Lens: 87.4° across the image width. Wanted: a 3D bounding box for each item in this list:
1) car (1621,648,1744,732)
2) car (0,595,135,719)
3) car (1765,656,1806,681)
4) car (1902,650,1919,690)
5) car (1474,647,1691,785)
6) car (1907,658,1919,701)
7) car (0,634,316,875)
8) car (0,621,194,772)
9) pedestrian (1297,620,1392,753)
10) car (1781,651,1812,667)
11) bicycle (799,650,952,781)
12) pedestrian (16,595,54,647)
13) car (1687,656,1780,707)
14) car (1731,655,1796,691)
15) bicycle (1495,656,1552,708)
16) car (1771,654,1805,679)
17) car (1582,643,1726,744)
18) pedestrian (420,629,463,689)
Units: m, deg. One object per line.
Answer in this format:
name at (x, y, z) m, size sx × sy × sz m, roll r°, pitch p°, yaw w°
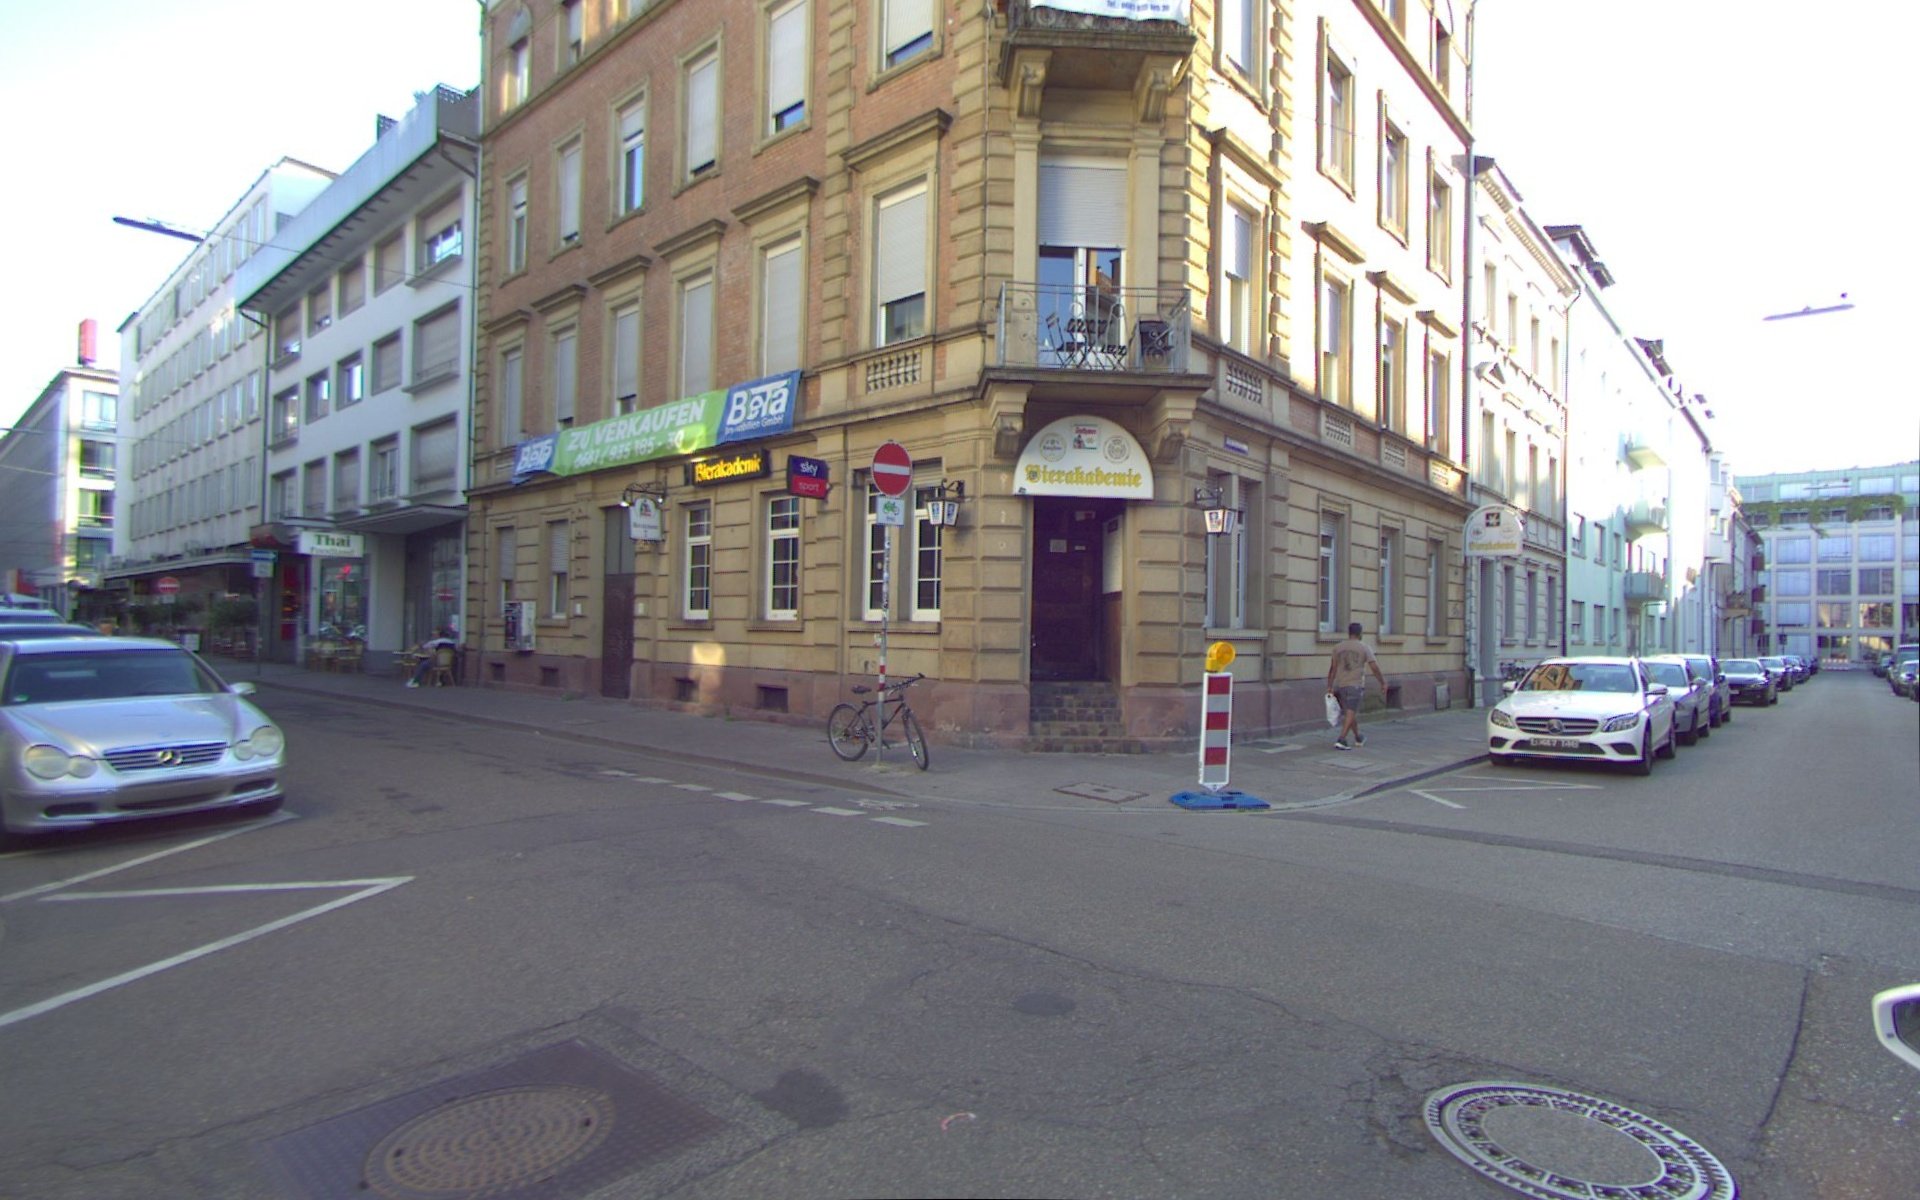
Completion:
car at (16.199, 1.932, 22.457) m, size 1.766 × 1.680 × 3.795 m, roll -1°, pitch -3°, yaw 43°
car at (-15.046, 0.853, 16.026) m, size 4.424 × 1.767 × 2.324 m, roll -1°, pitch -3°, yaw 43°
car at (46.815, 3.875, 56.937) m, size 1.688 × 1.319 × 3.980 m, roll -1°, pitch -3°, yaw 41°
car at (43.245, 3.118, 44.564) m, size 1.971 × 1.723 × 3.980 m, roll 0°, pitch -2°, yaw 41°
car at (8.862, 1.470, 14.118) m, size 1.970 × 1.585 × 4.485 m, roll -1°, pitch -3°, yaw 40°
car at (36.045, 2.918, 36.749) m, size 1.972 × 1.470 × 3.978 m, roll 0°, pitch -2°, yaw 43°
car at (-7.021, 1.018, 8.259) m, size 4.422 × 1.420 × 1.748 m, roll -1°, pitch -1°, yaw 41°
car at (-10.928, 1.035, 12.131) m, size 4.060 × 1.544 × 2.003 m, roll -1°, pitch -3°, yaw 43°
pedestrian at (5.435, 1.185, 14.186) m, size 0.969 × 1.765 × 1.013 m, roll 1°, pitch -1°, yaw 37°
car at (70.387, 4.948, 84.537) m, size 1.970 × 1.326 × 3.864 m, roll -1°, pitch -3°, yaw 40°
bicycle at (-0.976, 1.257, 11.376) m, size 1.736 × 1.292 × 0.658 m, roll -1°, pitch 1°, yaw 39°
pedestrian at (-47.882, 1.078, 52.003) m, size 1.446 × 2.648 × 1.242 m, roll 0°, pitch -2°, yaw 42°
car at (23.794, 2.441, 30.834) m, size 1.971 × 1.372 × 4.406 m, roll -1°, pitch -3°, yaw 41°
car at (35.462, 3.164, 44.290) m, size 2.147 × 1.436 × 3.982 m, roll -1°, pitch -3°, yaw 40°
bicycle at (13.849, 1.993, 24.645) m, size 0.729 × 1.176 × 2.448 m, roll 0°, pitch -2°, yaw 42°
car at (50.735, 4.036, 61.607) m, size 1.566 × 1.429 × 3.375 m, roll -1°, pitch -3°, yaw 39°
car at (12.541, 1.589, 18.074) m, size 1.607 × 1.597 × 3.733 m, roll -1°, pitch -3°, yaw 43°
pedestrian at (-12.036, 1.371, 23.329) m, size 0.828 × 1.357 × 0.800 m, roll 2°, pitch -2°, yaw -27°
